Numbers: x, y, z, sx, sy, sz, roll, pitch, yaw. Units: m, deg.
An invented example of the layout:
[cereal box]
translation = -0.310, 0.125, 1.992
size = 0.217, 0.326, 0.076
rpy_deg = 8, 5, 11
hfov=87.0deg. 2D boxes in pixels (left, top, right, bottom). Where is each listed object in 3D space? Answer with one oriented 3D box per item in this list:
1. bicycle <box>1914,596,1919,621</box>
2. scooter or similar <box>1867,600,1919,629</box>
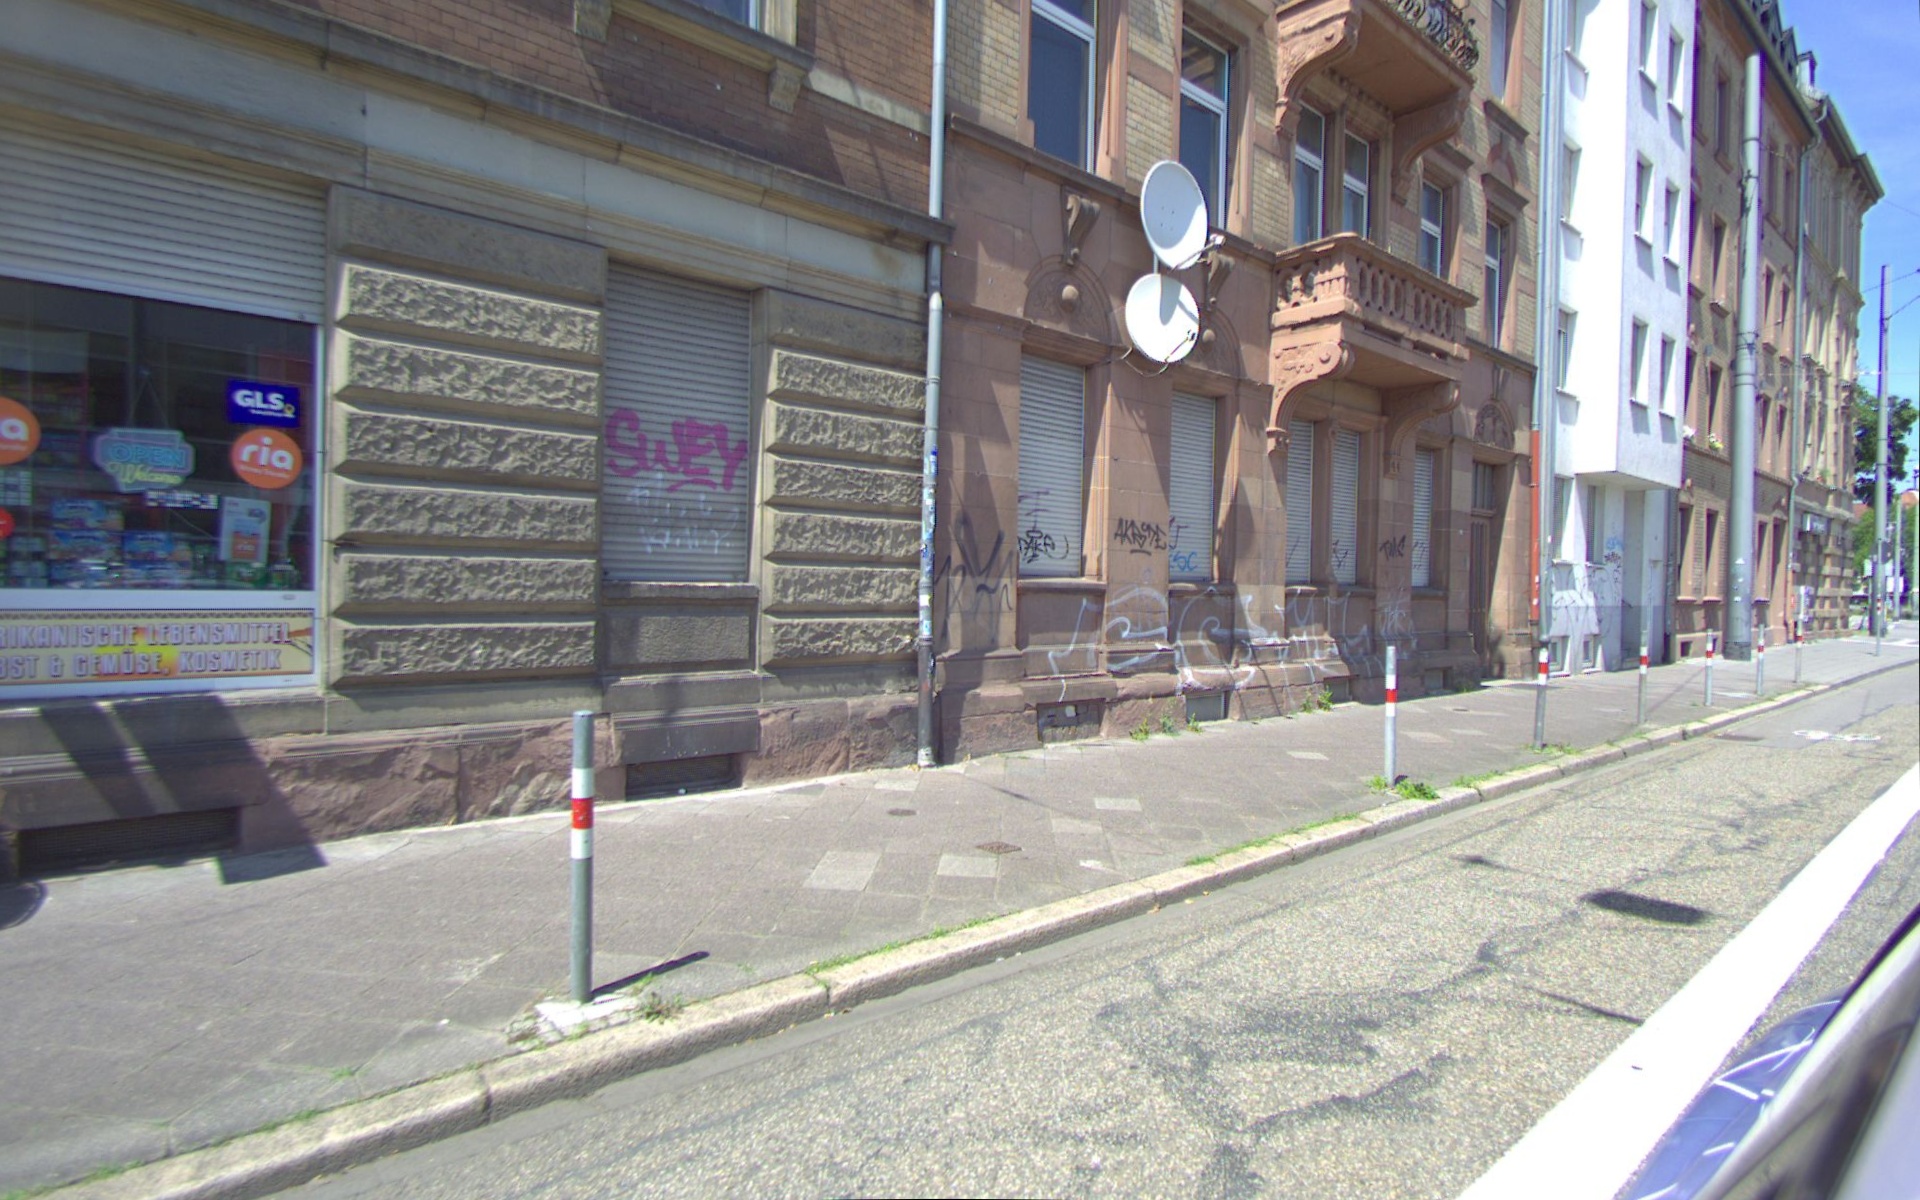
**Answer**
[bicycle]
translation = 50.717, 0.460, 52.047
size = 2.182, 1.266, 1.098
rpy_deg = 1, 1, 6
[scooter or similar]
translation = 39.056, 0.603, 42.304
size = 1.507, 1.170, 0.710
rpy_deg = 1, 1, 22
